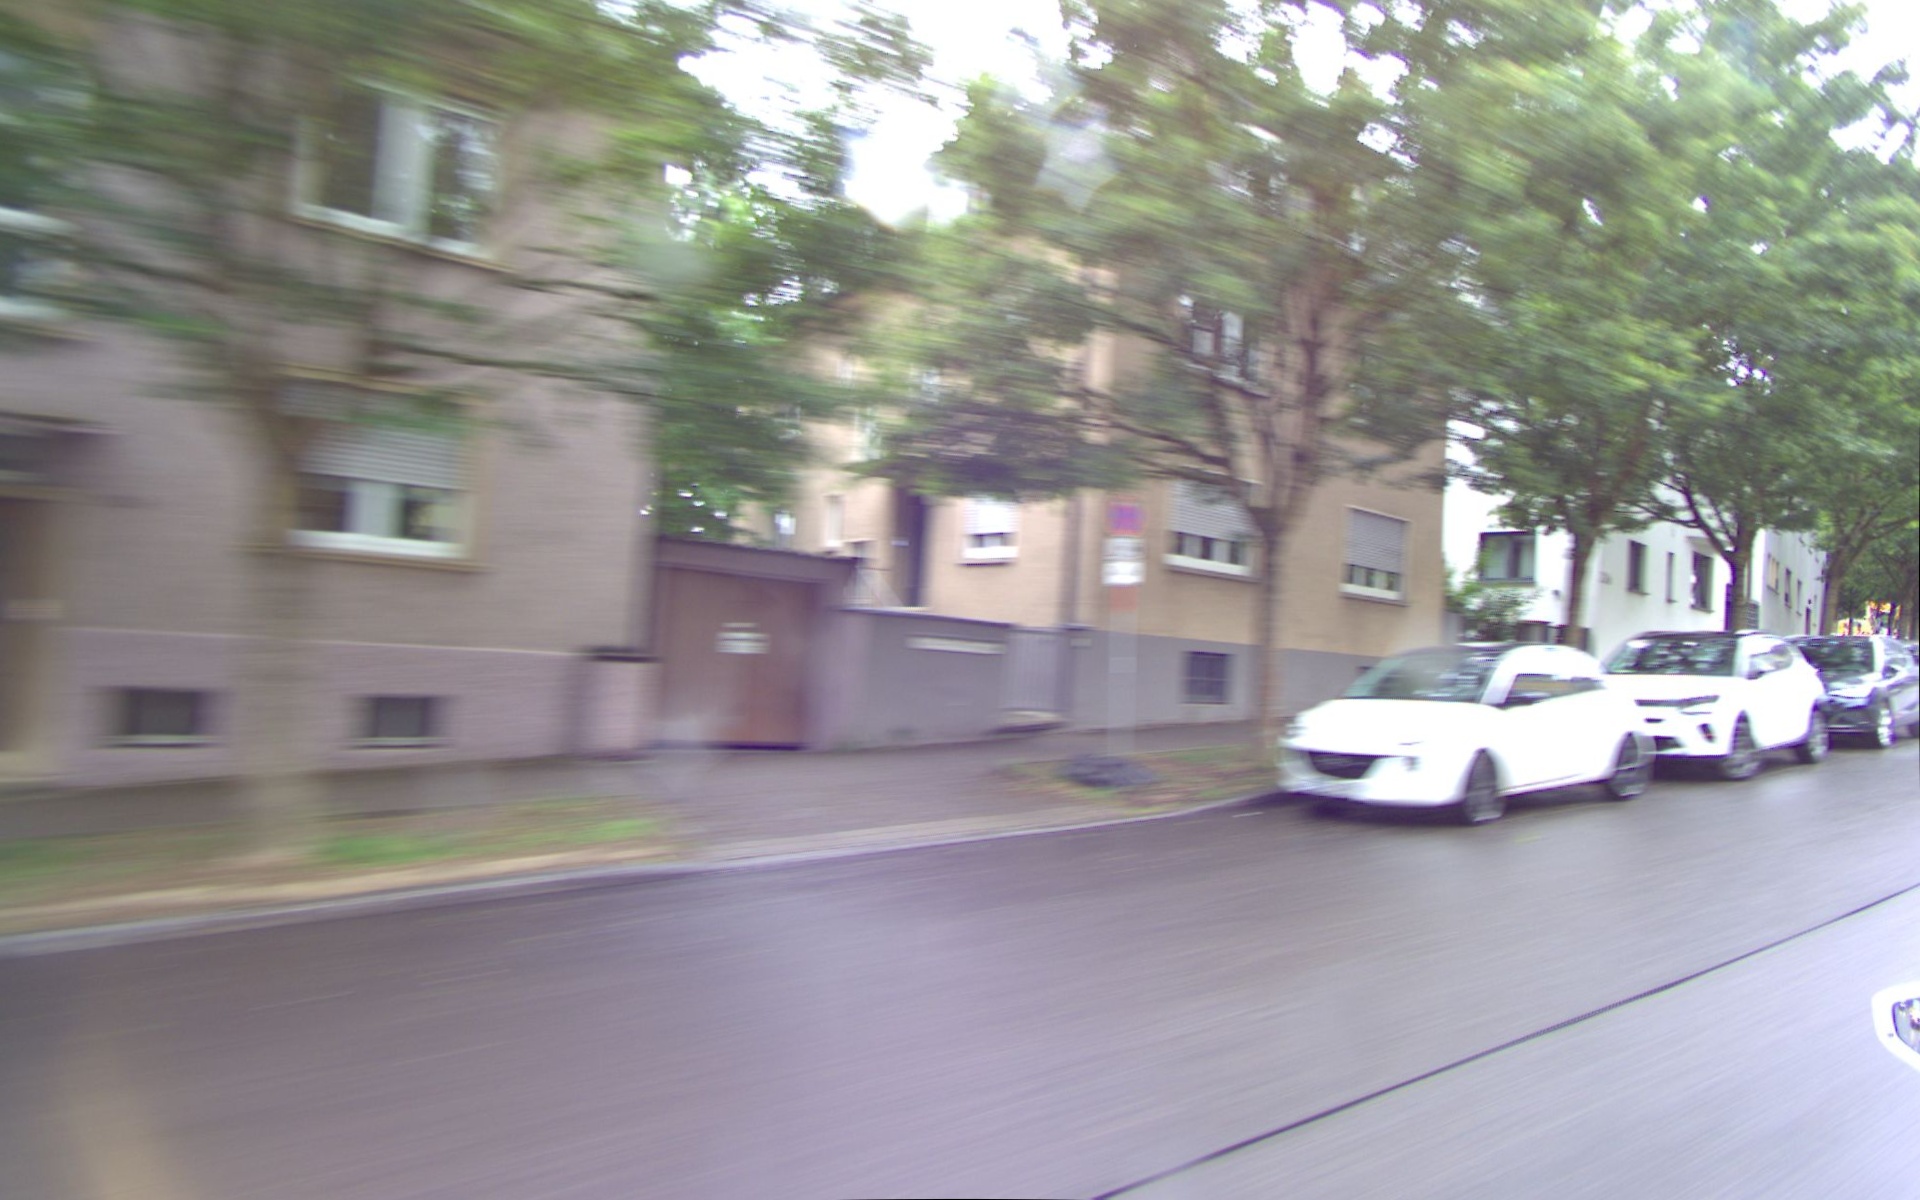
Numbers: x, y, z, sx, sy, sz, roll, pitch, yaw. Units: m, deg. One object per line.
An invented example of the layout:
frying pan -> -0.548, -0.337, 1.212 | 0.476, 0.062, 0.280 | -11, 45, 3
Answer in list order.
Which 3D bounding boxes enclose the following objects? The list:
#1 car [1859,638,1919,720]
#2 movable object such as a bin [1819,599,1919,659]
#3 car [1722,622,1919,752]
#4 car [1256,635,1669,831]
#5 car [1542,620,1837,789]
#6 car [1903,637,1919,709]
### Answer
car -> 18.925, 1.503, 19.428 | 3.938, 1.489, 1.606 | 3, -5, -39
movable object such as a bin -> 66.320, 2.037, 72.115 | 2.773, 4.068, 7.325 | 1, 0, -2
car -> 12.990, 1.254, 14.906 | 3.888, 1.679, 1.607 | 2, -6, -37
car -> 4.675, 1.128, 9.283 | 3.625, 1.489, 1.611 | 1, -6, -30
car -> 8.683, 1.182, 11.864 | 3.885, 1.679, 1.583 | 2, -7, -36
car -> 21.947, 1.529, 21.858 | 3.440, 1.508, 1.562 | 1, -4, -39
